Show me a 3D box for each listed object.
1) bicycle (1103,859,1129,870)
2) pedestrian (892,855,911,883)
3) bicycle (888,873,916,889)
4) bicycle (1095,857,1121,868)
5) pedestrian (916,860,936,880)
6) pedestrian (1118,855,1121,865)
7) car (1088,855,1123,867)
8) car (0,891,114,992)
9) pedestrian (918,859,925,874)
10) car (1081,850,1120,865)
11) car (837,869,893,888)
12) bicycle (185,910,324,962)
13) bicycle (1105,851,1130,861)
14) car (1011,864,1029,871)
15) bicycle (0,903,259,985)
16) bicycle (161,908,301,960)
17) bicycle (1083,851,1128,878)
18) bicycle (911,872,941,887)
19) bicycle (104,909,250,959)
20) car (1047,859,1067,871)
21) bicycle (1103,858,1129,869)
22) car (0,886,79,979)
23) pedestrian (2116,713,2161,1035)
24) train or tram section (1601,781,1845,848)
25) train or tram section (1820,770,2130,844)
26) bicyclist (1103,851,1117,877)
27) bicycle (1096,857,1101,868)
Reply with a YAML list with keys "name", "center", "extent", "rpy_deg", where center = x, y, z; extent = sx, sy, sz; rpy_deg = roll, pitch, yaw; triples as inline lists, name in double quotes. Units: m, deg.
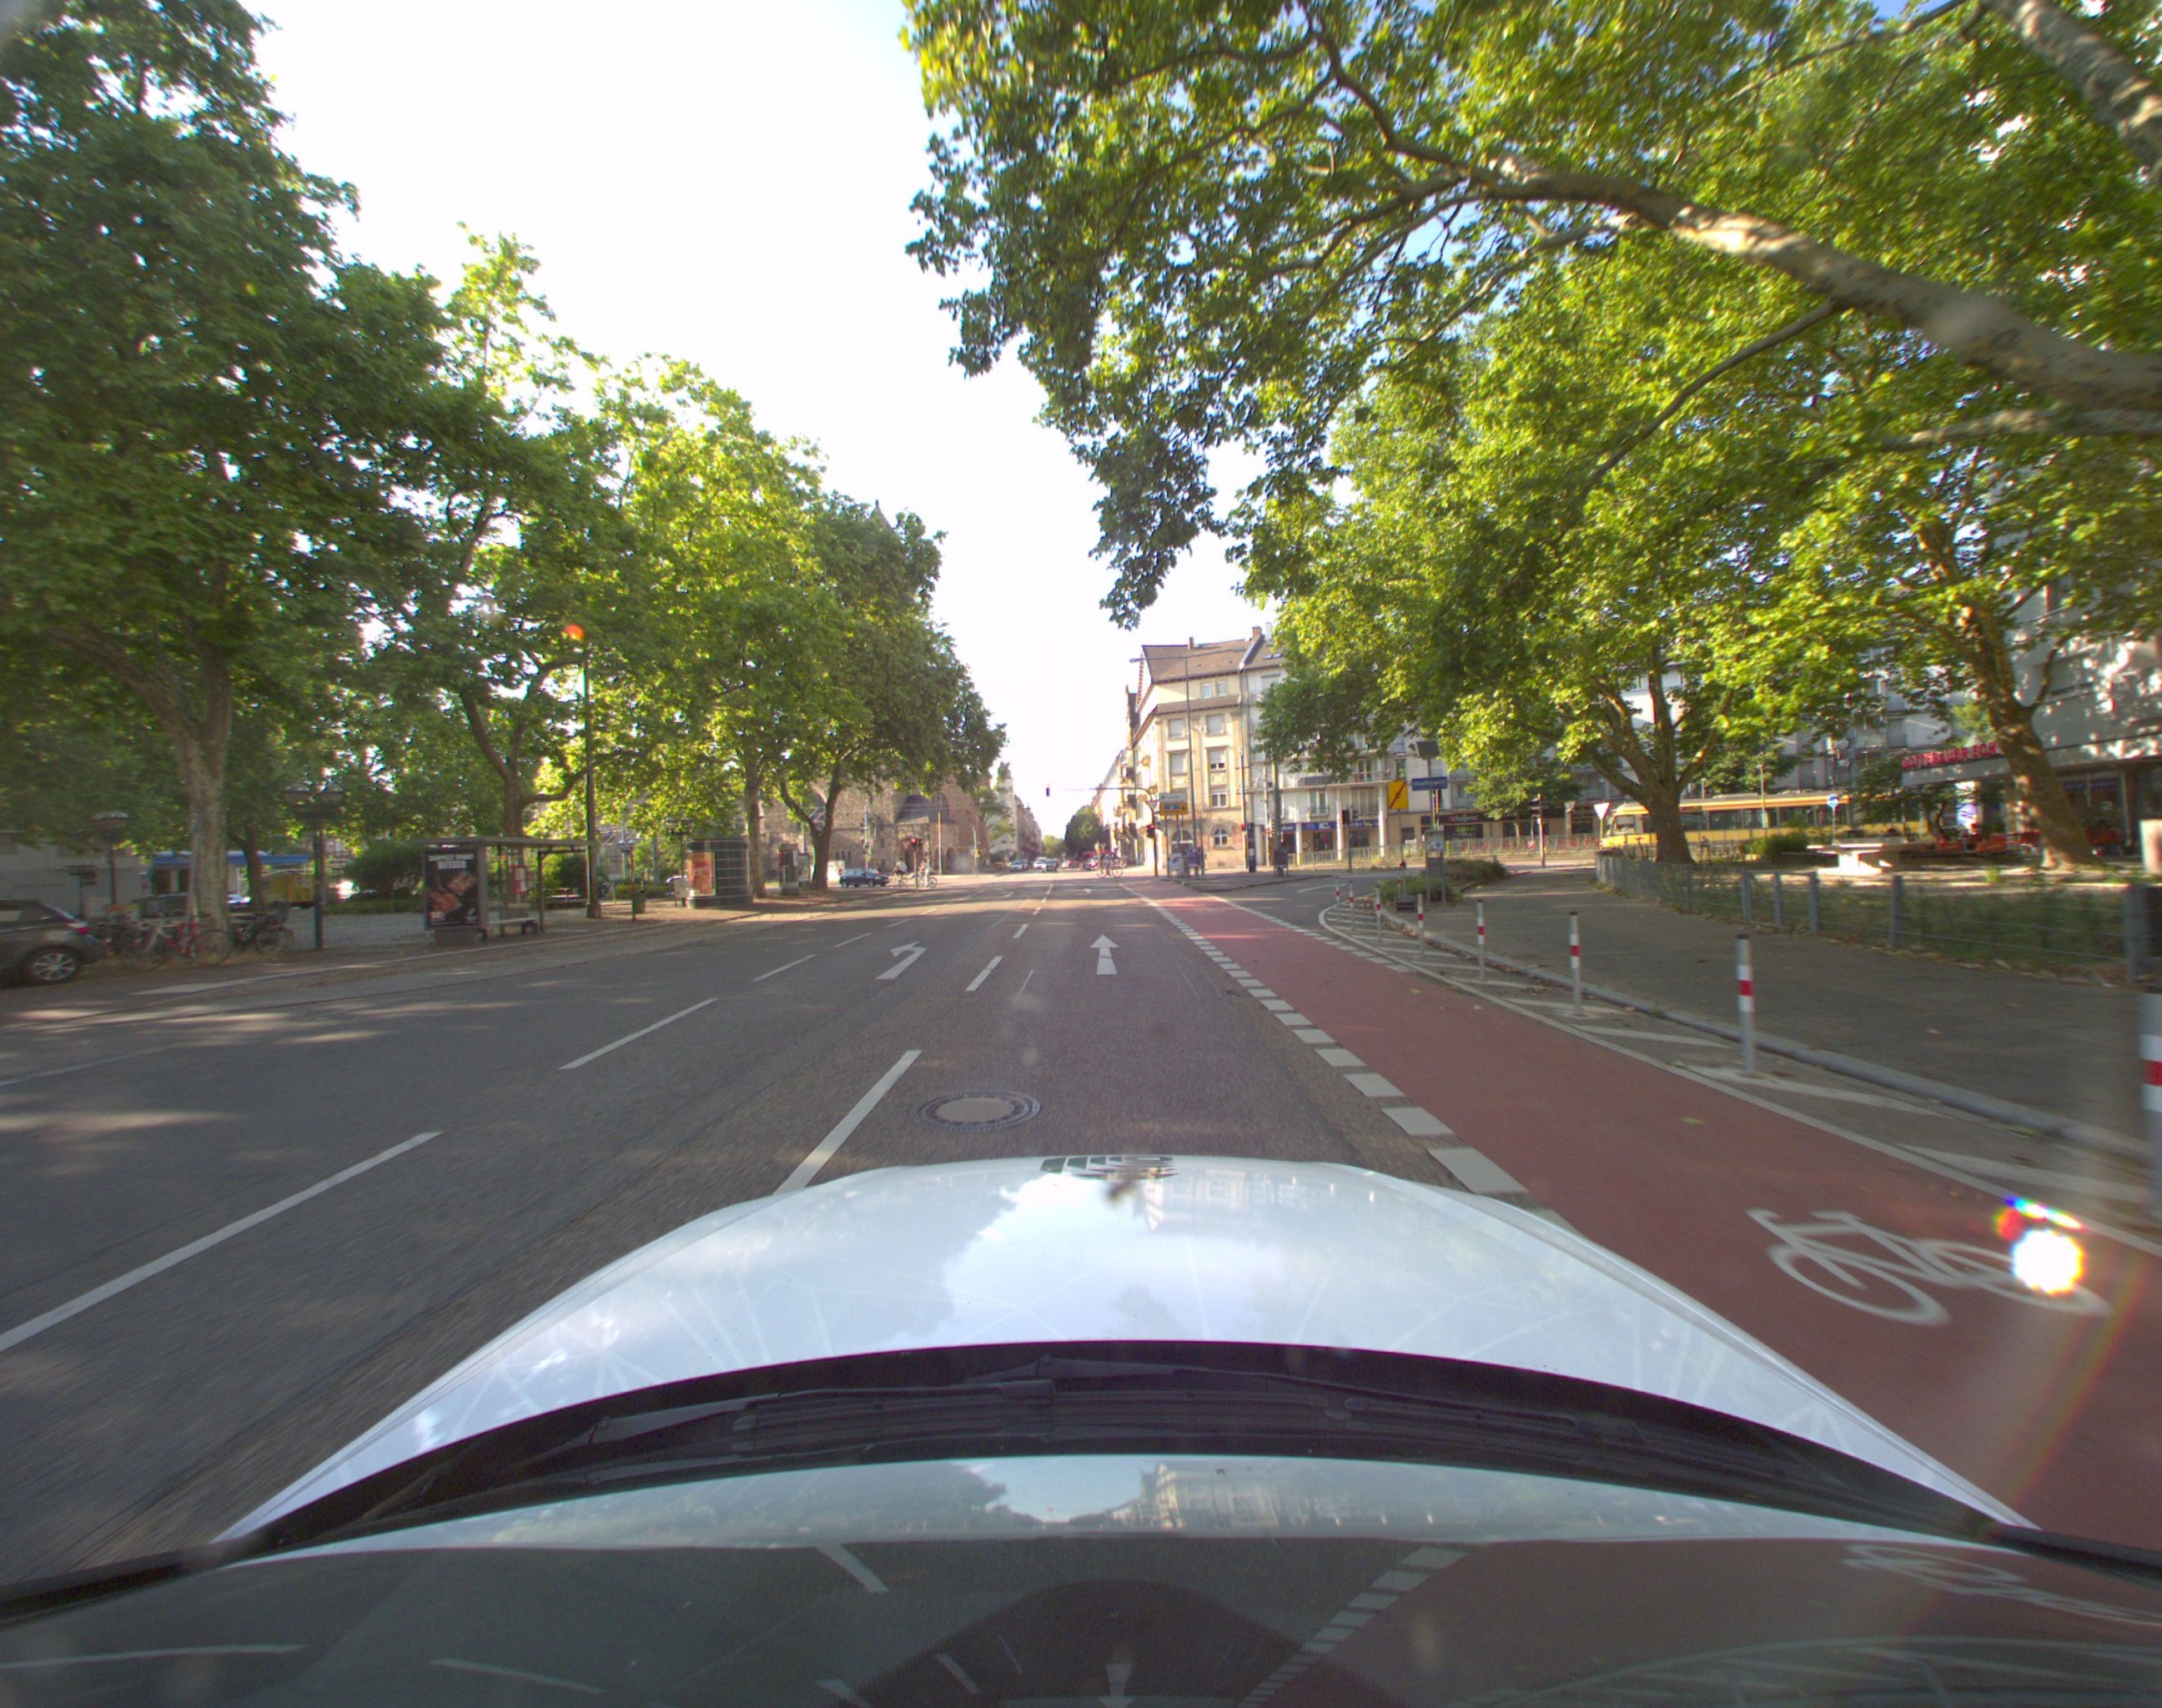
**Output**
- name: "bicycle"
  center: [3.857, 1.155, 90.430]
  extent: [2.797, 1.204, 0.509]
  rpy_deg: [0, -2, -4]
- name: "pedestrian"
  center: [-11.213, 0.950, 50.979]
  extent: [0.981, 1.708, 0.632]
  rpy_deg: [-1, -2, 31]
- name: "bicycle"
  center: [-11.180, 1.683, 50.919]
  extent: [1.766, 0.982, 0.661]
  rpy_deg: [-1, -2, 31]
- name: "bicycle"
  center: [3.010, 0.903, 91.353]
  extent: [2.797, 1.204, 0.516]
  rpy_deg: [0, -2, -4]
- name: "pedestrian"
  center: [-10.025, 1.021, 52.641]
  extent: [1.038, 1.278, 0.797]
  rpy_deg: [-1, -2, 29]
- name: "pedestrian"
  center: [5.312, 0.823, 111.260]
  extent: [0.393, 1.289, 0.431]
  rpy_deg: [0, -2, 4]
- name: "car"
  center: [3.241, 0.897, 107.060]
  extent: [4.448, 1.538, 1.856]
  rpy_deg: [1, -2, -33]
- name: "car"
  center: [-18.043, 1.454, 12.522]
  extent: [1.735, 1.517, 3.668]
  rpy_deg: [-3, 0, 21]
- name: "pedestrian"
  center: [-18.303, 1.448, 93.521]
  extent: [0.608, 1.790, 0.710]
  rpy_deg: [0, -2, 0]
- name: "car"
  center: [2.635, 0.530, 110.866]
  extent: [5.025, 2.014, 2.143]
  rpy_deg: [1, -2, -37]
- name: "car"
  center: [-16.473, 1.884, 62.131]
  extent: [3.893, 1.397, 1.661]
  rpy_deg: [-1, -2, 20]
- name: "bicycle"
  center: [-18.344, 1.792, 18.161]
  extent: [0.546, 0.992, 2.223]
  rpy_deg: [-1, -1, 10]
- name: "bicycle"
  center: [4.149, 0.226, 92.675]
  extent: [2.797, 1.204, 0.509]
  rpy_deg: [0, -2, -4]
- name: "car"
  center: [-9.413, 2.127, 126.077]
  extent: [1.581, 1.144, 3.399]
  rpy_deg: [-1, -1, 18]
- name: "bicycle"
  center: [-16.615, 1.503, 14.376]
  extent: [0.715, 1.145, 3.293]
  rpy_deg: [0, -1, 3]
- name: "bicycle"
  center: [-18.925, 1.756, 18.218]
  extent: [0.546, 0.992, 2.223]
  rpy_deg: [-1, -1, 10]
- name: "bicycle"
  center: [1.573, 0.687, 52.145]
  extent: [2.823, 1.656, 0.833]
  rpy_deg: [-1, -2, 10]
- name: "bicycle"
  center: [-10.010, 1.666, 52.600]
  extent: [1.764, 0.895, 0.755]
  rpy_deg: [-2, 0, 29]
- name: "bicycle"
  center: [-20.866, 1.815, 18.858]
  extent: [0.544, 0.992, 2.230]
  rpy_deg: [-2, -2, 41]
- name: "car"
  center: [-2.910, 1.330, 99.541]
  extent: [1.574, 1.463, 3.197]
  rpy_deg: [-1, -1, 16]
- name: "bicycle"
  center: [3.960, 1.065, 92.030]
  extent: [2.797, 1.204, 0.516]
  rpy_deg: [0, -2, -4]
- name: "car"
  center: [-20.629, 1.517, 13.892]
  extent: [1.864, 1.617, 4.008]
  rpy_deg: [-2, 2, 7]
- name: "pedestrian"
  center: [7.116, 0.091, 4.607]
  extent: [0.824, 2.013, 1.153]
  rpy_deg: [-5, -2, 2]
- name: "train or tram section"
  center: [40.359, -2.373, 51.965]
  extent: [11.683, 3.640, 3.437]
  rpy_deg: [-1, -2, 25]
- name: "train or tram section"
  center: [51.248, -2.545, 47.391]
  extent: [11.683, 3.640, 3.437]
  rpy_deg: [-1, -2, 25]
- name: "bicyclist"
  center: [1.857, 0.634, 52.105]
  extent: [0.797, 1.656, 0.937]
  rpy_deg: [-1, -2, 11]
- name: "bicycle"
  center: [2.007, 1.007, 93.769]
  extent: [0.506, 1.204, 2.092]
  rpy_deg: [0, -1, 1]
